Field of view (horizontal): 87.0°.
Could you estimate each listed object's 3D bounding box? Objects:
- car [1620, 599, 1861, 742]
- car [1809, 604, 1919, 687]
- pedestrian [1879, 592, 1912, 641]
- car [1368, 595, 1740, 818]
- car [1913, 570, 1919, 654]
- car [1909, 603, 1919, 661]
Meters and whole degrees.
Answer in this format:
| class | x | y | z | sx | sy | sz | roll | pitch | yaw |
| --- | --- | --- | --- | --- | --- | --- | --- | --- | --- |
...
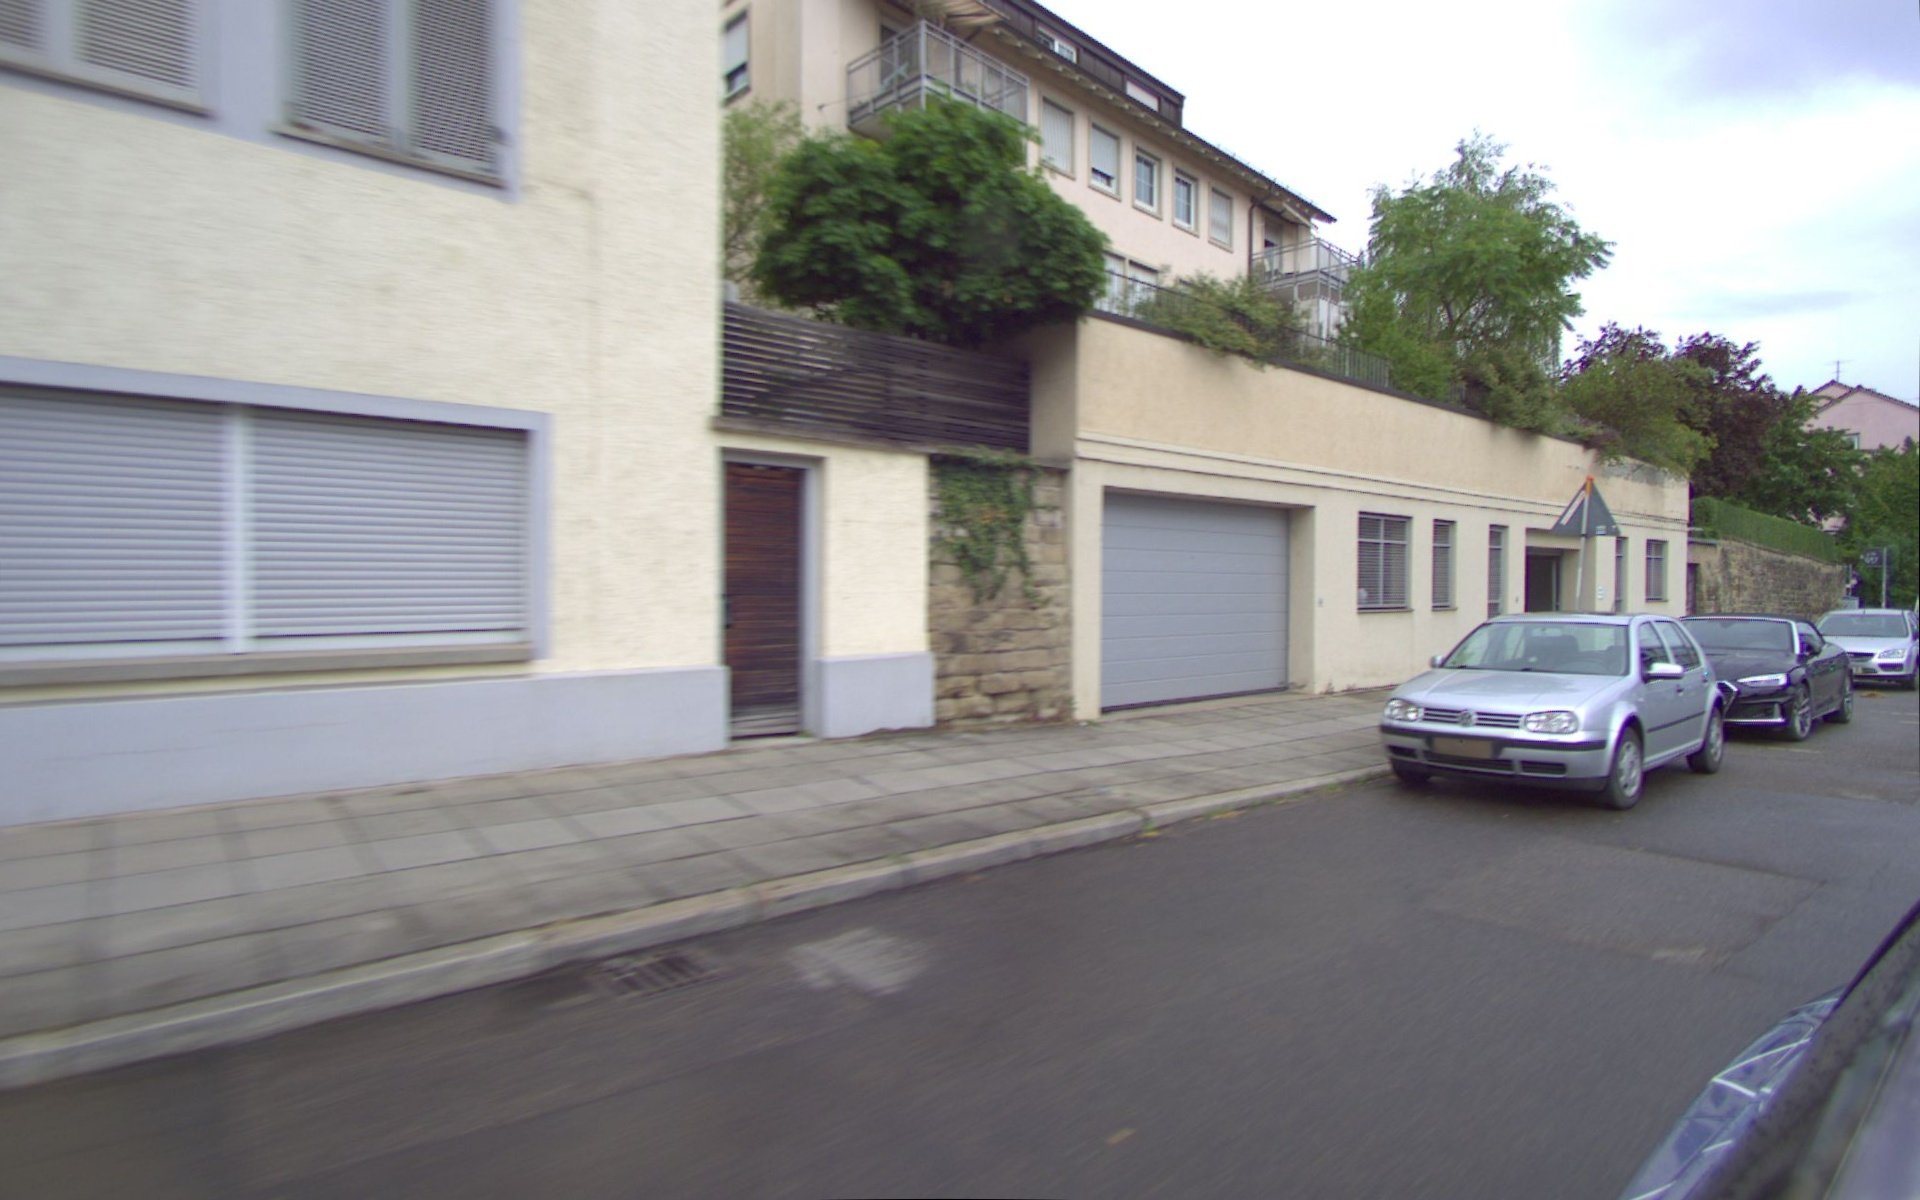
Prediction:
| class | x | y | z | sx | sy | sz | roll | pitch | yaw |
| --- | --- | --- | --- | --- | --- | --- | --- | --- | --- |
| car | 9.541 | 0.736 | 12.282 | 3.693 | 1.472 | 1.632 | 0 | -1 | -41 |
| car | 18.079 | 0.815 | 19.761 | 4.161 | 1.472 | 1.691 | 0 | -1 | -41 |
| pedestrian | 34.601 | 0.601 | 37.420 | 0.889 | 1.736 | 0.725 | 1 | 2 | -39 |
| car | 5.125 | 0.713 | 8.546 | 3.693 | 1.472 | 1.632 | 0 | -1 | -41 |
| car | 31.465 | 0.359 | 31.303 | 5.972 | 2.495 | 2.209 | 0 | -1 | -40 |
| car | 26.378 | 0.810 | 26.582 | 4.161 | 1.472 | 1.691 | 0 | -1 | -41 |
